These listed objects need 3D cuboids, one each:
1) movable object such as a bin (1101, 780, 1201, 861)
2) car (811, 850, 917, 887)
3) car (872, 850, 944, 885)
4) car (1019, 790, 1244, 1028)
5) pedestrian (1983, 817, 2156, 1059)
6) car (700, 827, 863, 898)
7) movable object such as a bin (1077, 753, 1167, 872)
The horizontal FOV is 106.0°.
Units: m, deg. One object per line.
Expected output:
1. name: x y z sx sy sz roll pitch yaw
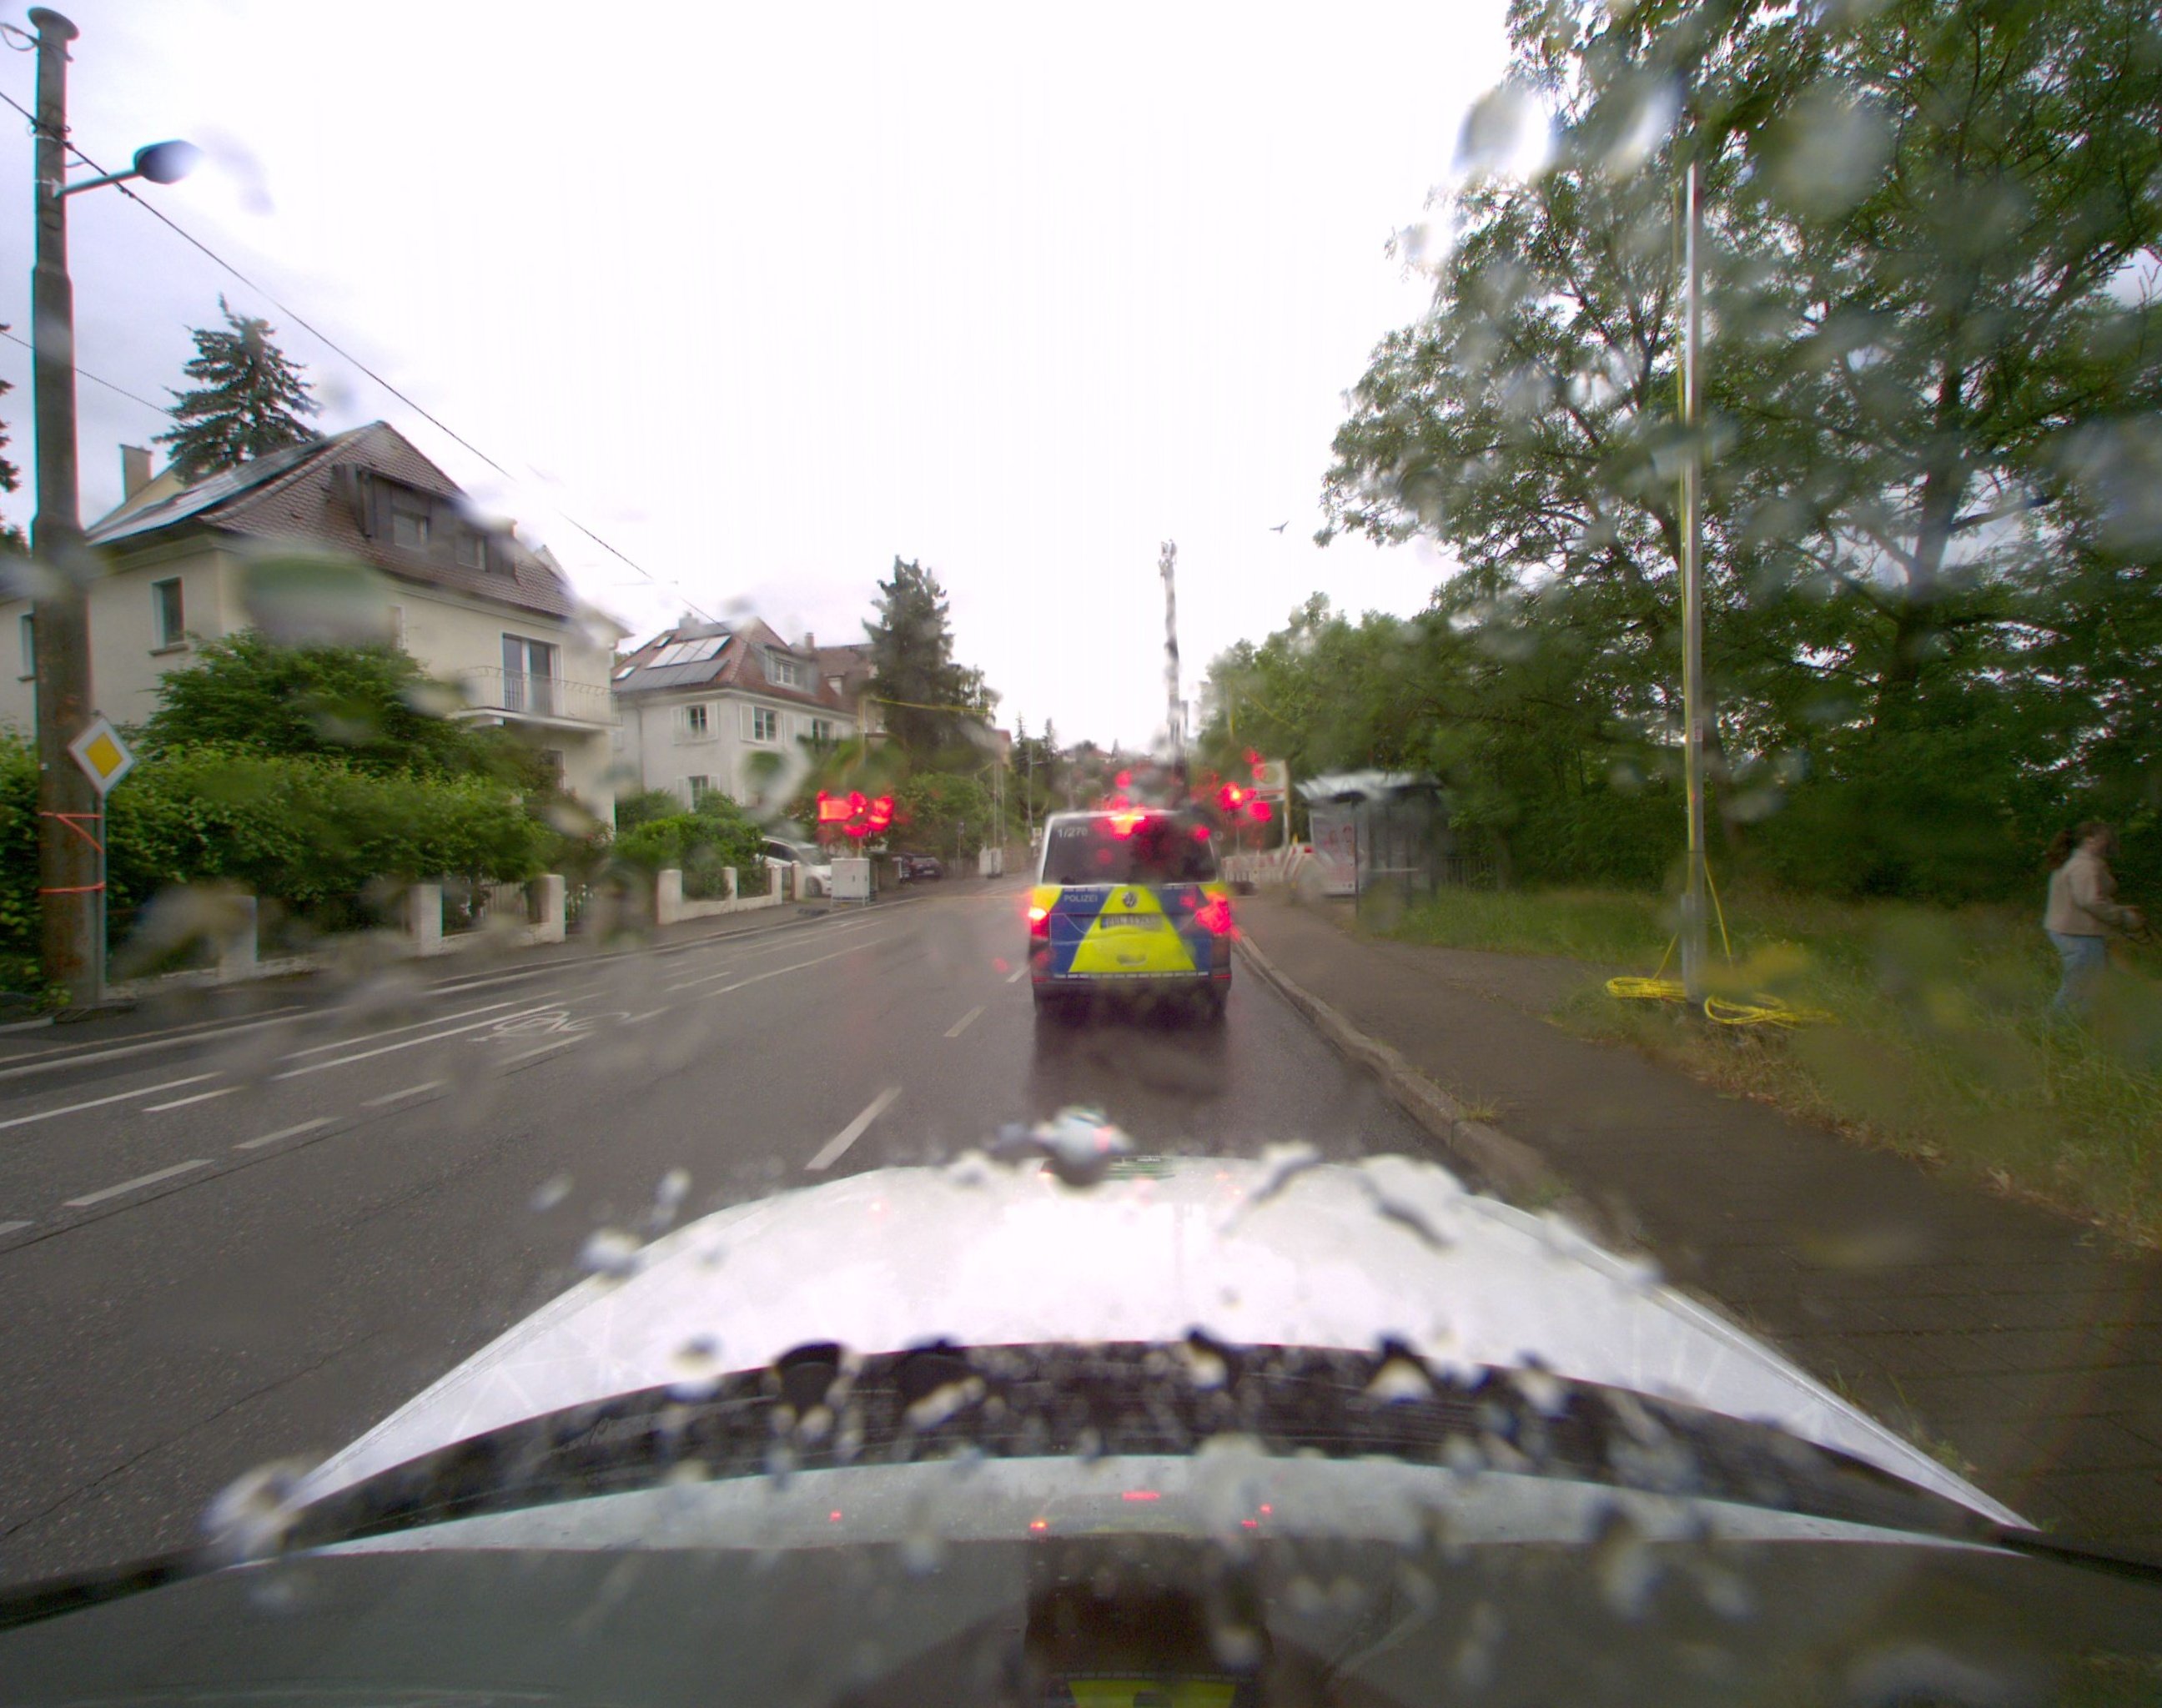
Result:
1. movable object such as a bin: 4.927 -2.157 55.931 3.646 5.066 7.209 -3 -1 34
2. car: -9.359 0.635 35.233 3.958 1.525 1.948 -1 -1 15
3. car: -8.120 0.600 38.083 1.795 1.525 3.955 0 0 -37
4. car: 0.496 0.485 9.149 1.901 2.010 4.441 0 -1 2
5. pedestrian: 7.141 0.559 5.926 0.736 1.604 0.743 0 -1 -42
6. car: -10.308 0.233 28.069 4.927 1.616 1.872 9 4 15
7. movable object such as a bin: 1.702 -1.540 31.709 2.862 4.170 4.499 -2 1 9
